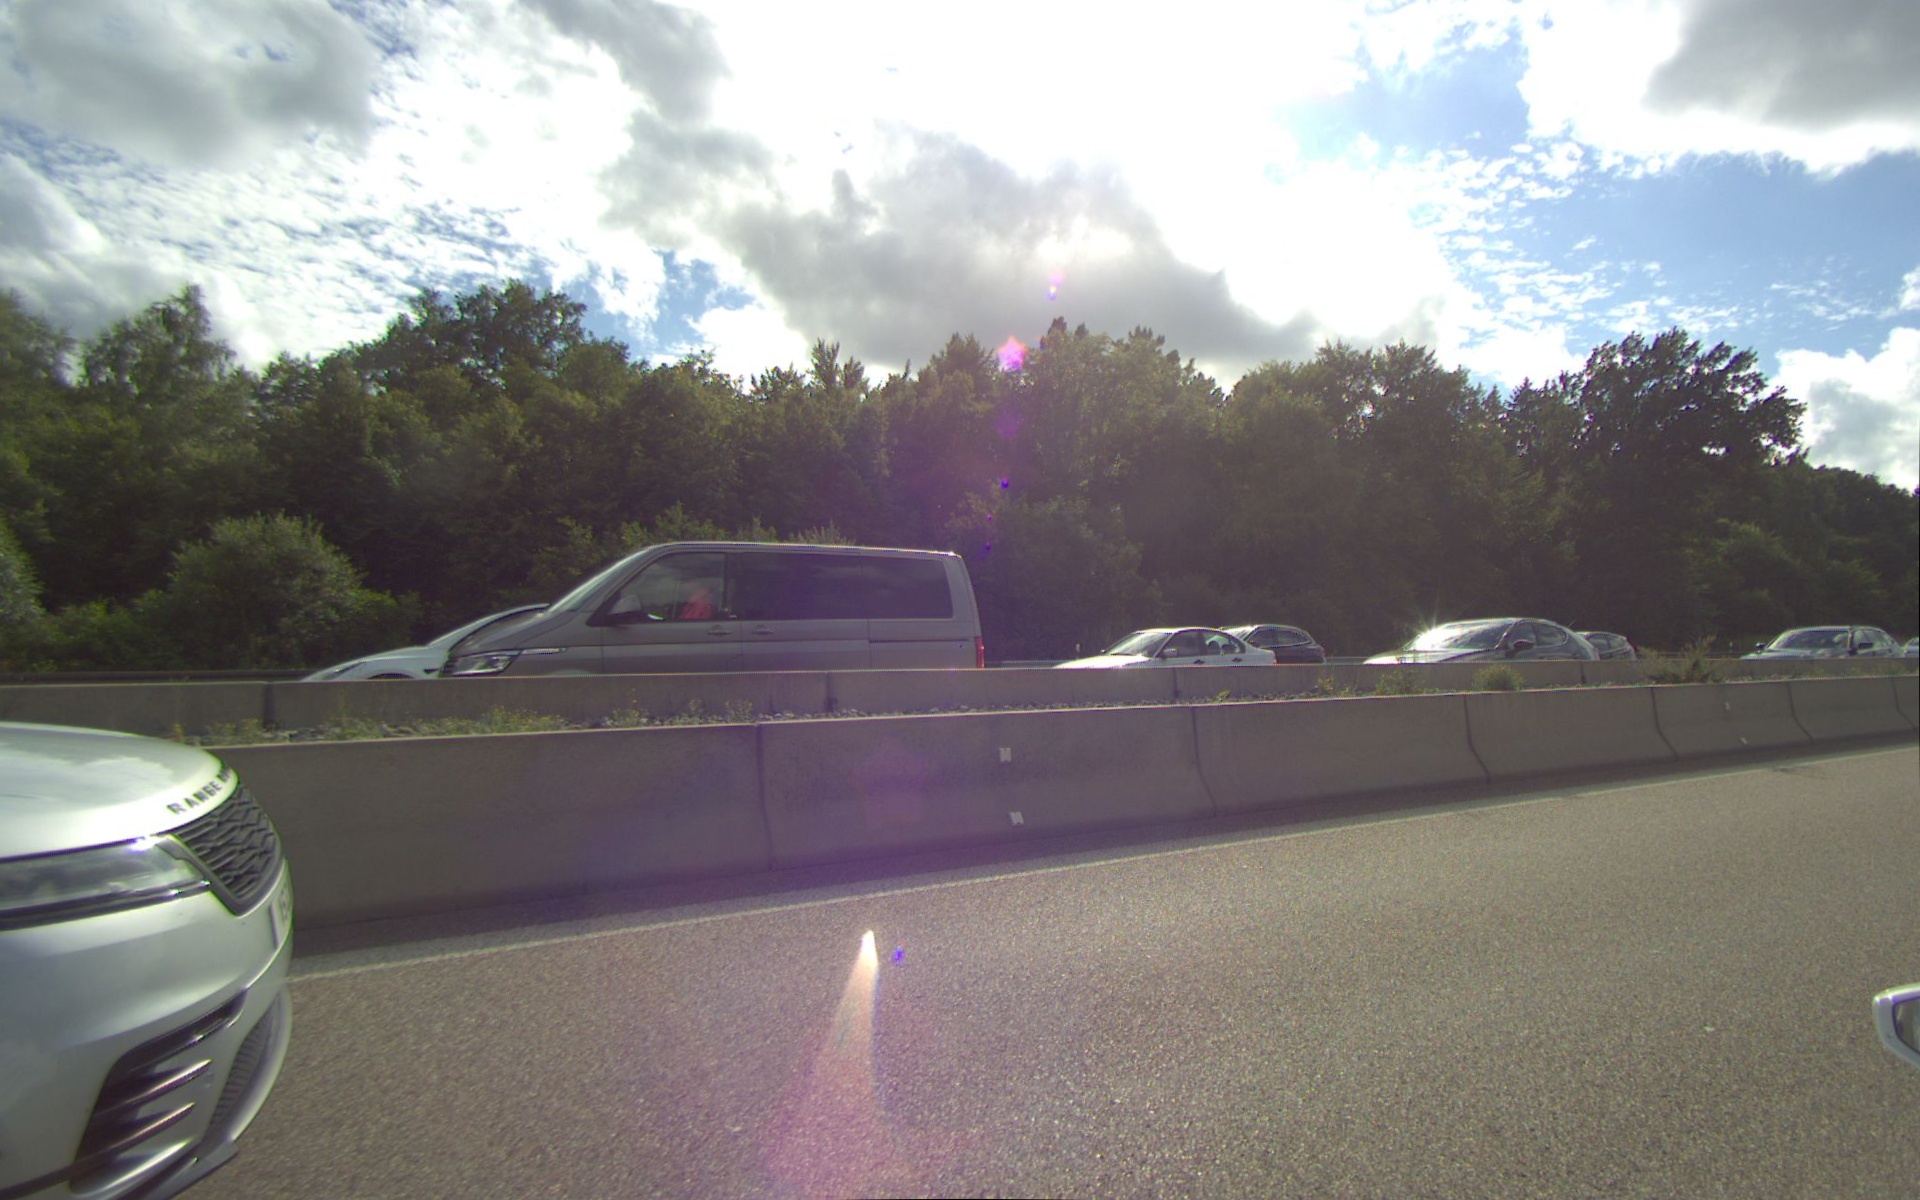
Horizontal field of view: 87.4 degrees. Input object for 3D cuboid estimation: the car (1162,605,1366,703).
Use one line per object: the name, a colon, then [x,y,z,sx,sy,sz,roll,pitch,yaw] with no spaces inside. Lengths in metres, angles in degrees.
car: [7.037,1.251,23.184,4.405,2.040,1.985,3,-1,-29]

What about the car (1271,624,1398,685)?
car: [13.871,2.027,37.188,4.405,2.040,1.985,3,-1,-29]

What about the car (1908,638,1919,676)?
car: [46.966,2.720,47.444,4.405,1.786,1.985,1,0,-29]

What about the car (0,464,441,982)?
car: [-4.516,0.452,4.390,3.951,1.946,1.985,1,0,-29]

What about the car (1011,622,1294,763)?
car: [3.257,1.463,16.849,4.405,2.040,1.985,2,-1,-29]

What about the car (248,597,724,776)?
car: [-5.396,0.900,11.894,4.704,1.756,1.985,1,0,-29]

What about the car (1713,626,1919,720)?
car: [18.433,1.555,21.596,4.405,1.782,1.985,3,-1,-29]

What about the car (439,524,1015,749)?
car: [-2.033,0.301,9.139,4.757,1.593,1.985,1,0,-29]

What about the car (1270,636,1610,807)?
car: [6.565,1.520,13.655,4.405,1.930,1.985,2,-1,-29]

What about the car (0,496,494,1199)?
car: [-3.607,0.582,1.560,5.047,1.628,1.890,2,-1,-31]
